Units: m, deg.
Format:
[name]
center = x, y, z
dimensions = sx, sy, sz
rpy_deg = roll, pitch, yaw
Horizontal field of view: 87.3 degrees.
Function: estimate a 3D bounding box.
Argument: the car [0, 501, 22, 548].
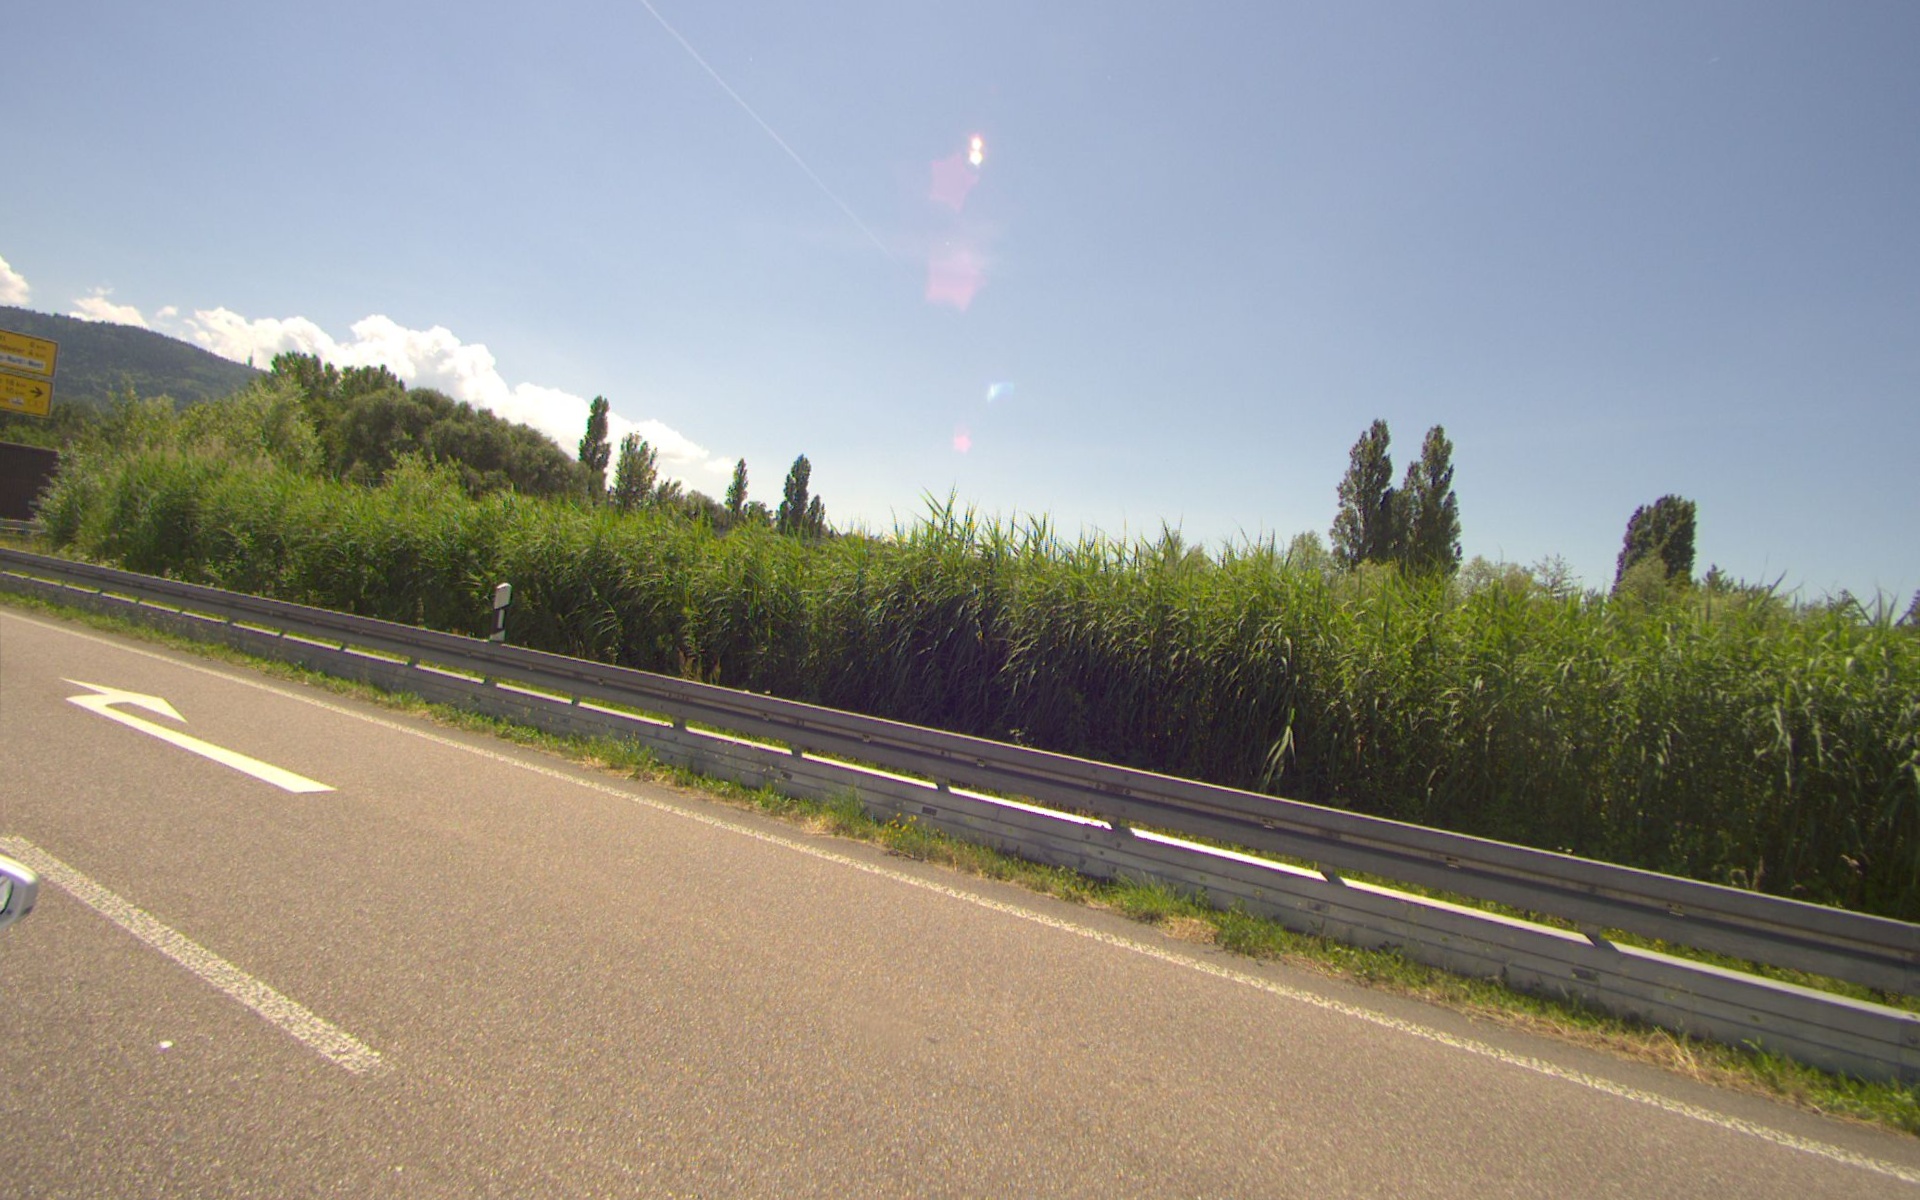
[car]
center = -36.835, -3.037, 35.967
dimensions = 1.965, 1.676, 4.321
rpy_deg = 7, -2, 28
